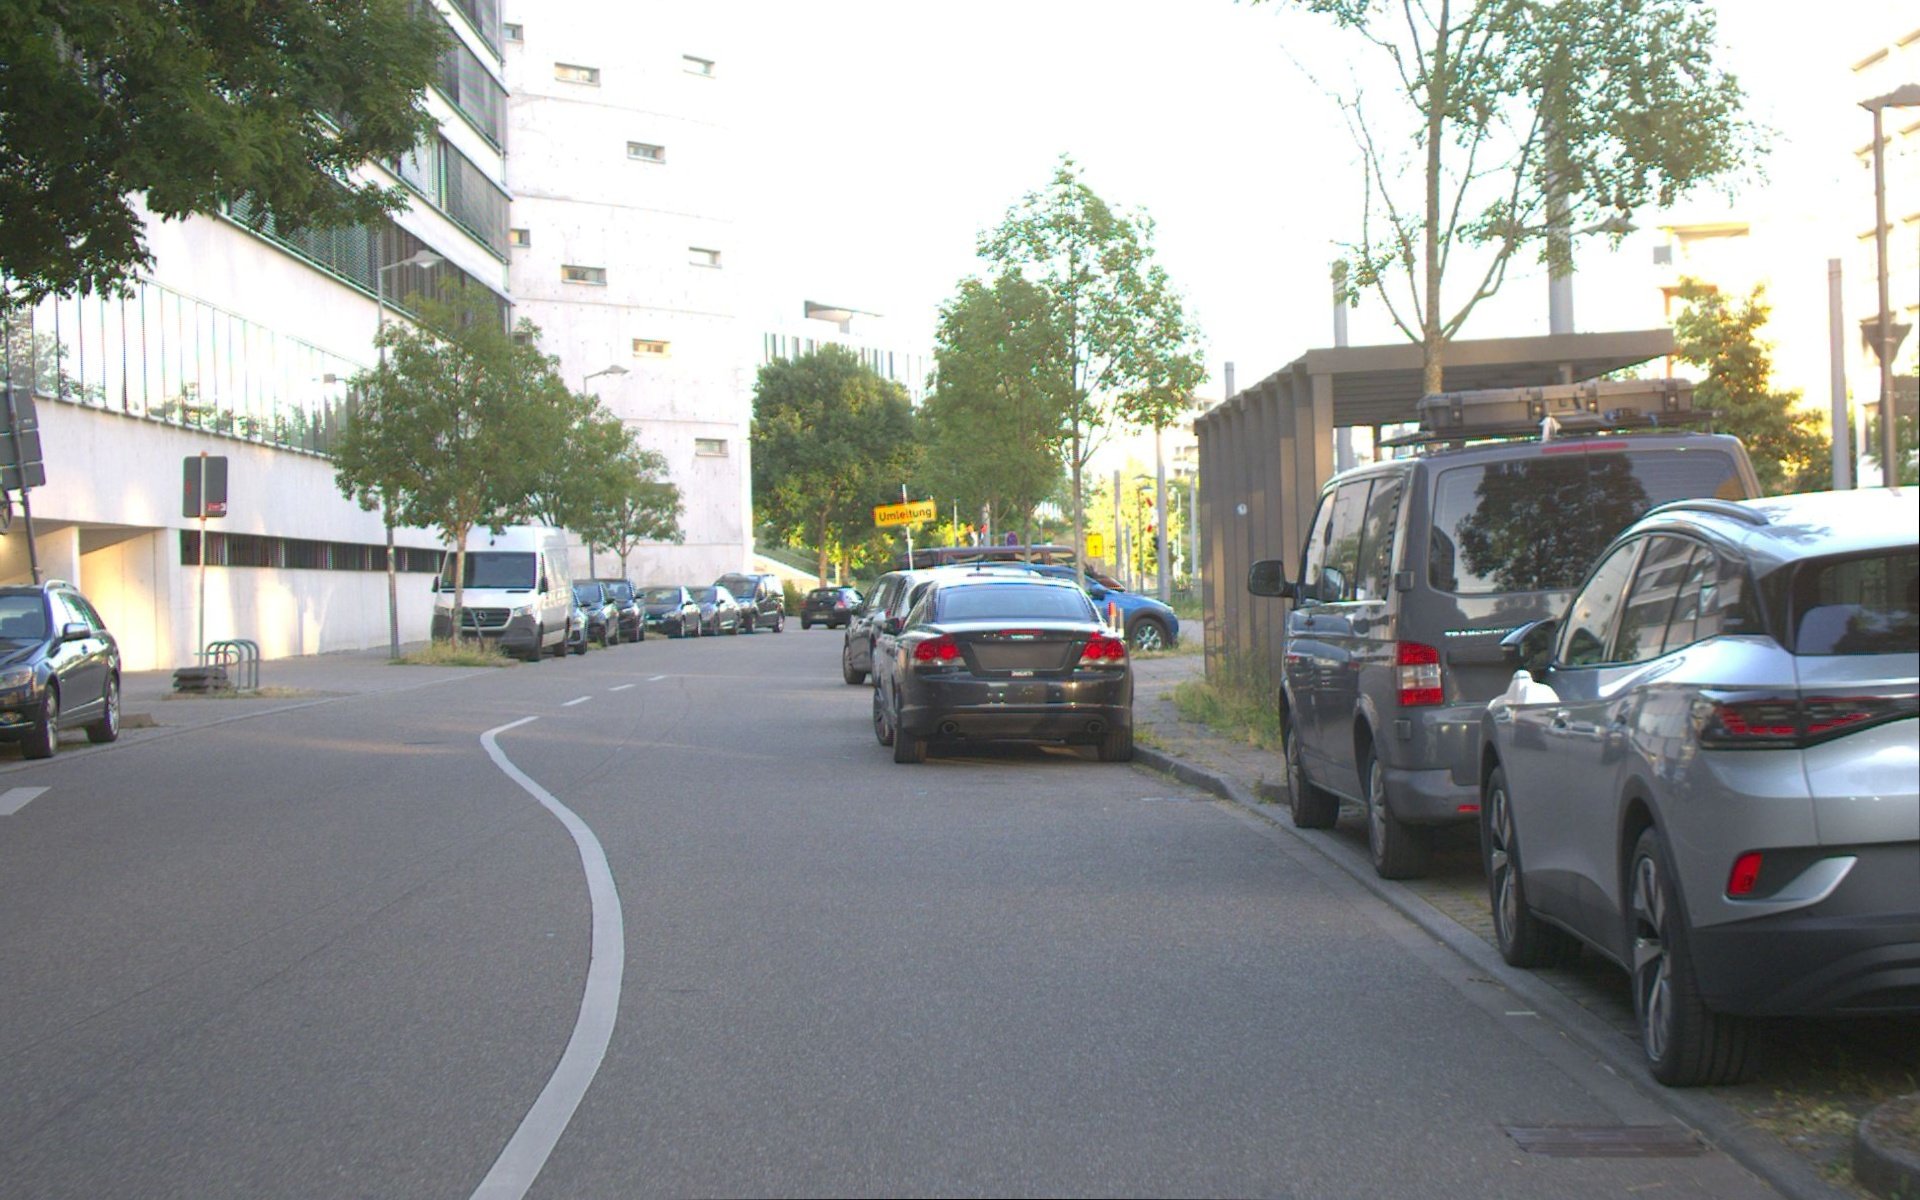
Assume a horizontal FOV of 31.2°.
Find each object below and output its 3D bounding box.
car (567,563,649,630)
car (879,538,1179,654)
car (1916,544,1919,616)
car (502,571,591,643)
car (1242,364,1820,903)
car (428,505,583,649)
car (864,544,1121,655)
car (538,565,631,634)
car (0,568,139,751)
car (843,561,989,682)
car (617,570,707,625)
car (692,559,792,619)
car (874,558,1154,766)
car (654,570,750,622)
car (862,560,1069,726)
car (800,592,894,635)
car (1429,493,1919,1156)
[{"bbox_3d":[-8.930,-0.112,87.531,1.756,1.648,3.949,1,1,-1],"label":"car"},{"bbox_3d":[1.036,-0.063,50.499,3.988,1.515,1.927,-2,-1,-36],"label":"car"},{"bbox_3d":[2.950,0.595,5.158,1.707,1.488,4.131,-3,0,-2],"label":"car"},{"bbox_3d":[-8.687,0.129,72.431,1.755,1.435,3.902,1,1,-5],"label":"car"},{"bbox_3d":[2.590,0.122,16.779,1.804,2.169,4.736,-3,0,-2],"label":"car"},{"bbox_3d":[-8.654,-0.463,66.028,1.958,2.608,6.892,1,1,1],"label":"car"},{"bbox_3d":[0.631,-0.028,64.770,4.589,2.028,1.871,0,1,-34],"label":"car"},{"bbox_3d":[-8.830,-0.024,81.135,1.756,1.555,4.043,1,1,0],"label":"car"},{"bbox_3d":[-8.279,0.468,29.553,1.714,1.447,4.400,-1,1,-5],"label":"car"},{"bbox_3d":[-0.614,0.276,44.352,1.731,1.461,4.000,1,0,-3],"label":"car"},{"bbox_3d":[-8.283,-0.083,95.709,1.723,1.452,4.270,1,1,6],"label":"car"},{"bbox_3d":[-6.732,-0.372,106.387,1.758,1.792,4.460,1,1,15],"label":"car"},{"bbox_3d":[0.332,0.418,26.829,1.787,1.447,4.516,-1,1,-4],"label":"car"},{"bbox_3d":[-7.581,-0.138,101.302,1.723,1.452,4.692,1,1,10],"label":"car"},{"bbox_3d":[-0.007,0.367,32.751,1.676,1.447,4.188,-1,0,-4],"label":"car"},{"bbox_3d":[-3.797,0.442,116.507,1.945,1.378,4.396,1,1,16],"label":"car"},{"bbox_3d":[2.624,0.494,10.553,1.707,1.575,4.479,-3,0,0],"label":"car"}]
